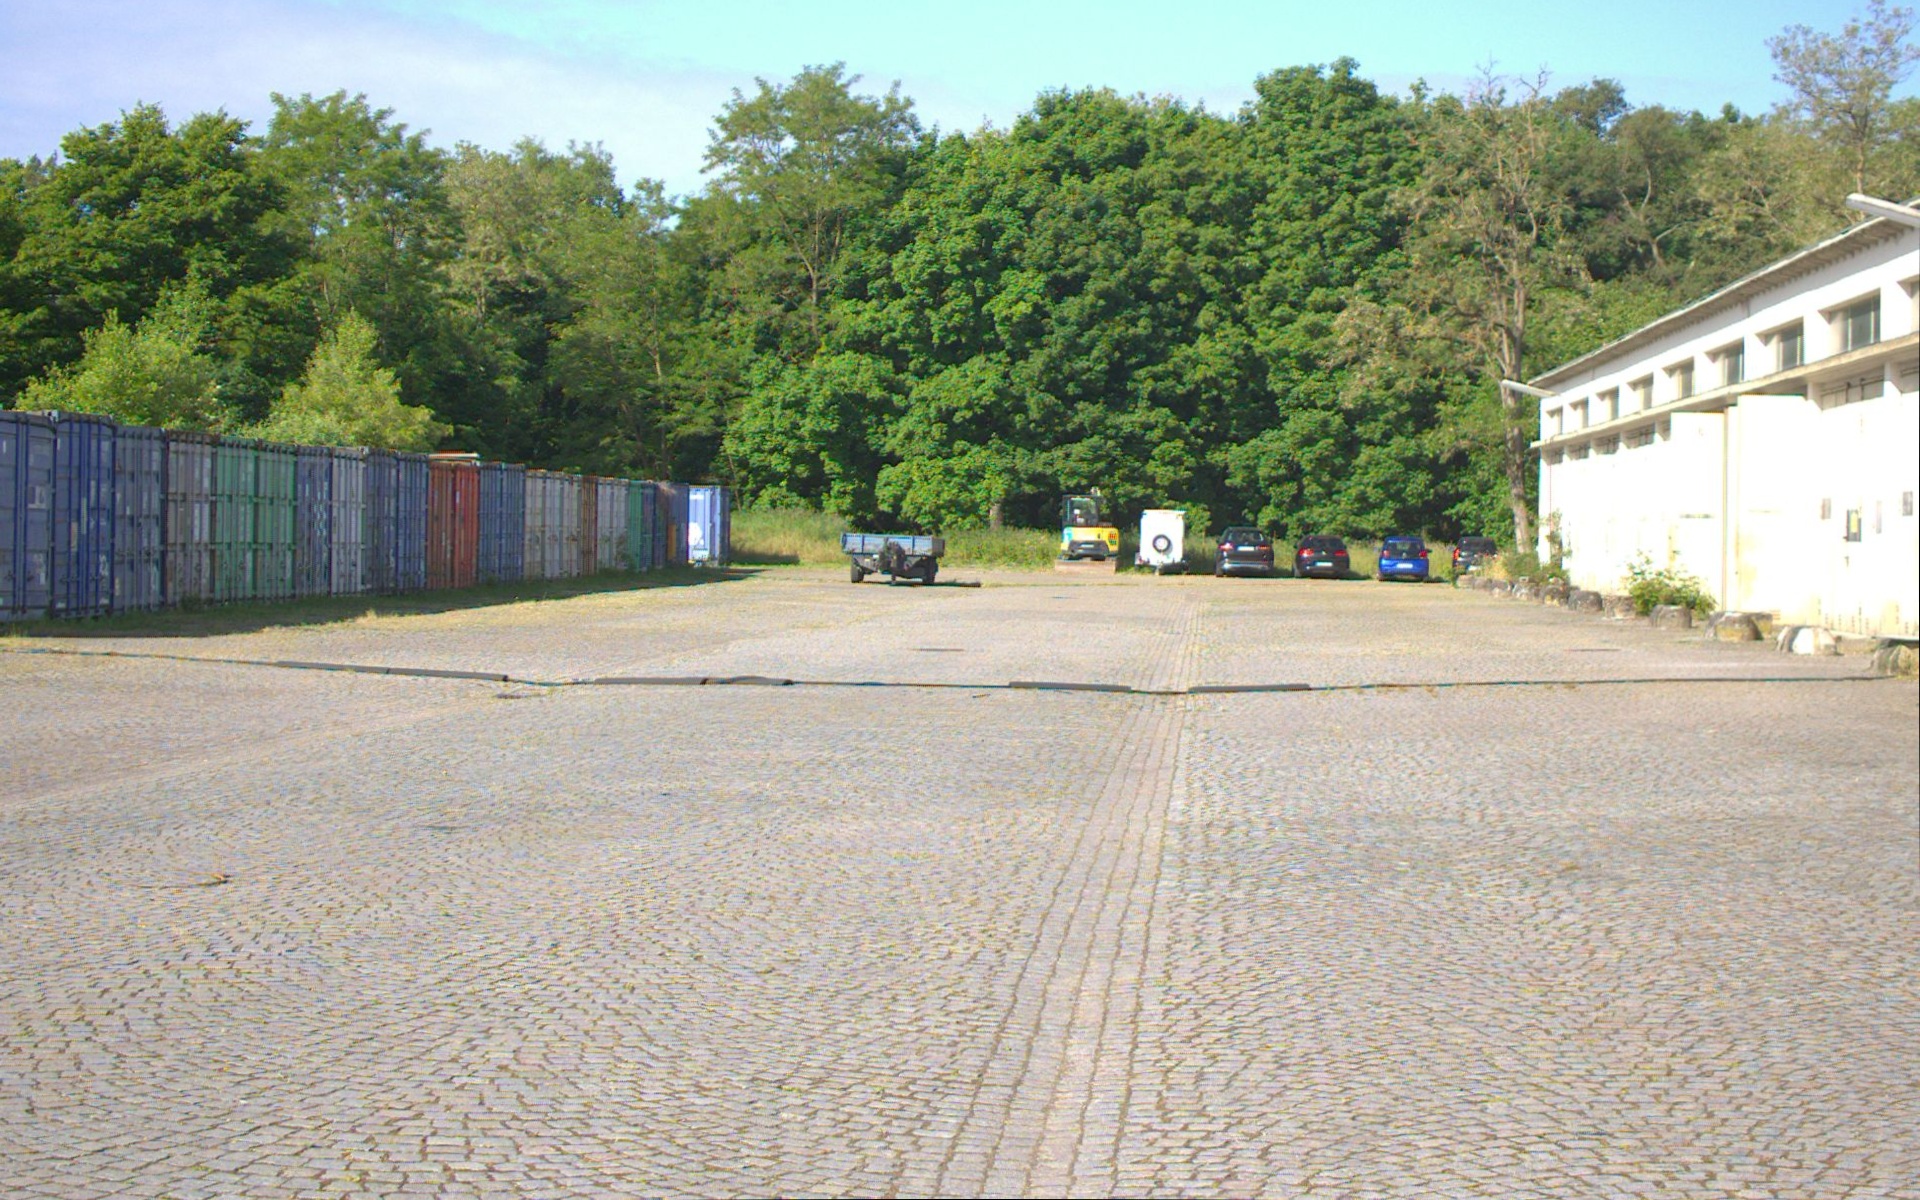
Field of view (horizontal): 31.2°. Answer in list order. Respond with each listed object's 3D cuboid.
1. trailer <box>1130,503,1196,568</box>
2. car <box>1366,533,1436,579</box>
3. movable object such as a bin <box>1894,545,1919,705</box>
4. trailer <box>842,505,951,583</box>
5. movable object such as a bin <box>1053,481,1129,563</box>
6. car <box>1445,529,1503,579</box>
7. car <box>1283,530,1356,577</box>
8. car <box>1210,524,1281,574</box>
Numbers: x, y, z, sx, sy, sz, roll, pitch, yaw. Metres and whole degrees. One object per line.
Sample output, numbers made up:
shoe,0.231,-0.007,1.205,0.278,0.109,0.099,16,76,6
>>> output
trailer,6.756,-2.140,114.112,1.794,2.083,3.970,1,1,8
car,14.384,-1.443,112.018,1.994,1.415,3.998,1,1,11
movable object such as a bin,8.392,0.213,28.652,0.823,1.327,1.280,1,1,-1
trailer,-1.731,-1.570,95.592,2.407,2.006,4.172,3,1,6
movable object such as a bin,4.392,-2.595,114.567,1.994,2.609,3.999,3,1,8
car,16.941,-1.525,113.175,1.686,1.558,3.998,1,1,11
car,11.759,-1.535,112.222,1.994,1.457,3.998,1,1,11
car,9.345,-1.665,112.215,1.862,1.580,3.998,1,1,11
